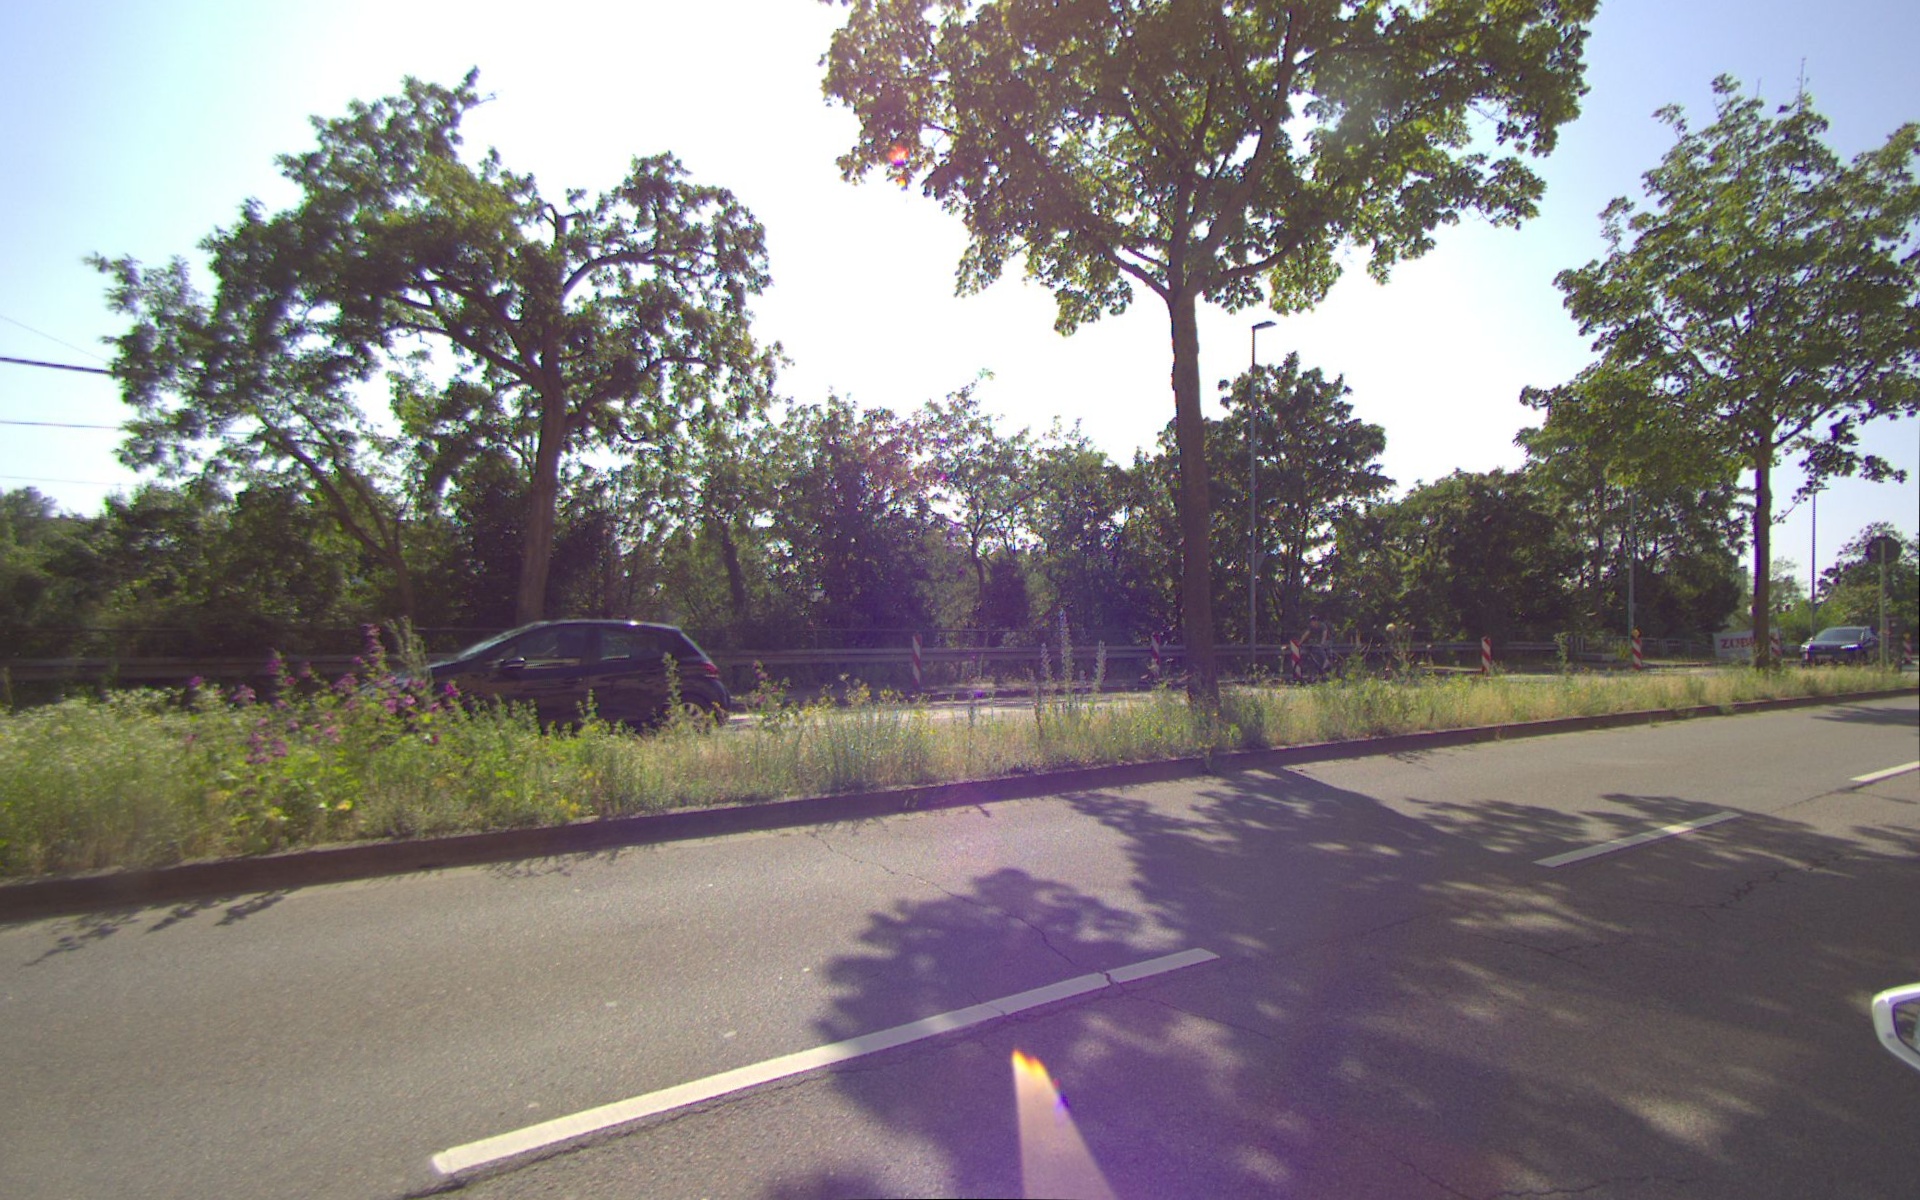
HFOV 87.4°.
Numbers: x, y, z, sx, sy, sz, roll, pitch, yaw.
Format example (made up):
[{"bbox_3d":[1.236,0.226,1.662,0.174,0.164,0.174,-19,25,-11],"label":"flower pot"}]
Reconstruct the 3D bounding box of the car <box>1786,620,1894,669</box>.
[{"bbox_3d":[34.011,1.685,38.800,4.679,1.756,1.982,1,-2,-33],"label":"car"}]

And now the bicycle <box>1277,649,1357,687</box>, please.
[{"bbox_3d":[9.311,1.747,26.184,2.316,0.917,0.689,1,-2,-32],"label":"bicycle"}]

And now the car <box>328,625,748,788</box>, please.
[{"bbox_3d":[-4.582,1.032,11.090,4.041,1.493,1.753,1,-2,-33],"label":"car"}]

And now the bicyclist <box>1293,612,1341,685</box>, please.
[{"bbox_3d":[9.302,1.247,26.192,1.005,1.856,0.693,1,-1,-32],"label":"bicyclist"}]
